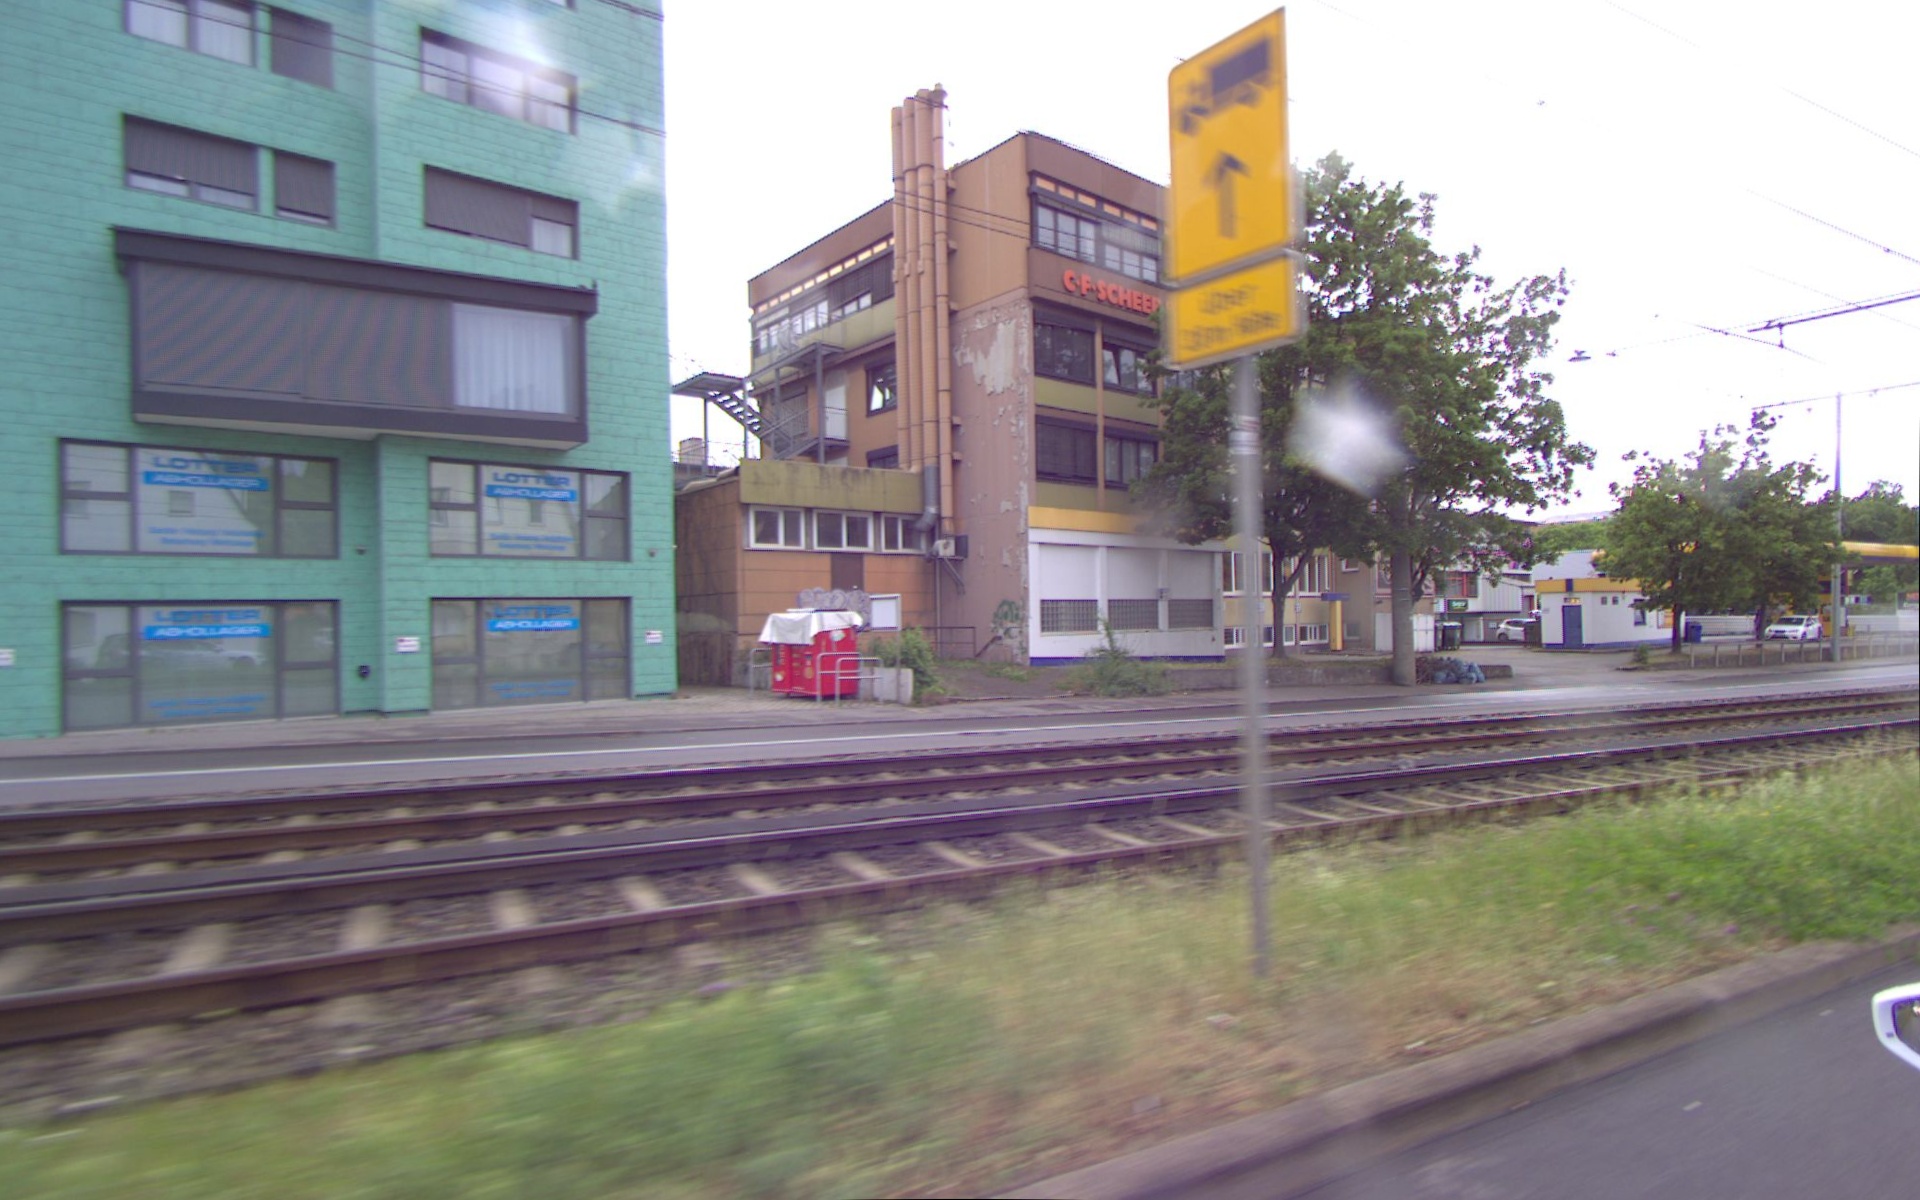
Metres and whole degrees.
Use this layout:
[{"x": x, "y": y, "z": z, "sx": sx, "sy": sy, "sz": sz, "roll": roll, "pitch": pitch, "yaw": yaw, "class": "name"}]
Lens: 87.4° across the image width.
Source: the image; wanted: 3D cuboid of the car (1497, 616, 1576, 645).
[{"x": 32.162, "y": 1.668, "z": 56.088, "sx": 3.714, "sy": 1.473, "sz": 1.547, "roll": 1, "pitch": 0, "yaw": 36, "class": "car"}]

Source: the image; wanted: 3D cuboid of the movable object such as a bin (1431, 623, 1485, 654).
[{"x": 24.593, "y": 1.860, "z": 49.617, "sx": 1.557, "sy": 1.394, "sz": 1.976, "roll": -1, "pitch": 1, "yaw": -40, "class": "movable object such as a bin"}]

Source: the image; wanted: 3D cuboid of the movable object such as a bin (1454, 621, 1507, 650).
[{"x": 27.073, "y": 1.812, "z": 52.254, "sx": 1.557, "sy": 1.394, "sz": 1.976, "roll": -1, "pitch": 1, "yaw": -40, "class": "movable object such as a bin"}]

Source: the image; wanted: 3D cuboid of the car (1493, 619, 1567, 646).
[{"x": 34.415, "y": 1.936, "z": 60.671, "sx": 3.714, "sy": 1.499, "sz": 1.570, "roll": 1, "pitch": 0, "yaw": 36, "class": "car"}]

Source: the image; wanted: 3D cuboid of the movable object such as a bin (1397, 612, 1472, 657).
[{"x": 22.627, "y": 1.601, "z": 47.880, "sx": 3.543, "sy": 1.945, "sz": 1.976, "roll": -1, "pitch": 1, "yaw": -41, "class": "movable object such as a bin"}]

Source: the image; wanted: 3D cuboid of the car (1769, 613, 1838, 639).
[{"x": 49.258, "y": 1.518, "z": 58.664, "sx": 3.956, "sy": 1.461, "sz": 1.983, "roll": 1, "pitch": -2, "yaw": -32, "class": "car"}]

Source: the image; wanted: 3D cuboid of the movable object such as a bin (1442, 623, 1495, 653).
[{"x": 25.836, "y": 1.890, "z": 51.053, "sx": 1.557, "sy": 1.394, "sz": 1.976, "roll": -1, "pitch": 1, "yaw": -40, "class": "movable object such as a bin"}]

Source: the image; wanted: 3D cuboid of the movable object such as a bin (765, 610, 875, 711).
[{"x": -3.338, "y": 1.355, "z": 23.799, "sx": 1.786, "sy": 2.186, "sz": 2.117, "roll": -1, "pitch": 1, "yaw": -38, "class": "movable object such as a bin"}]
